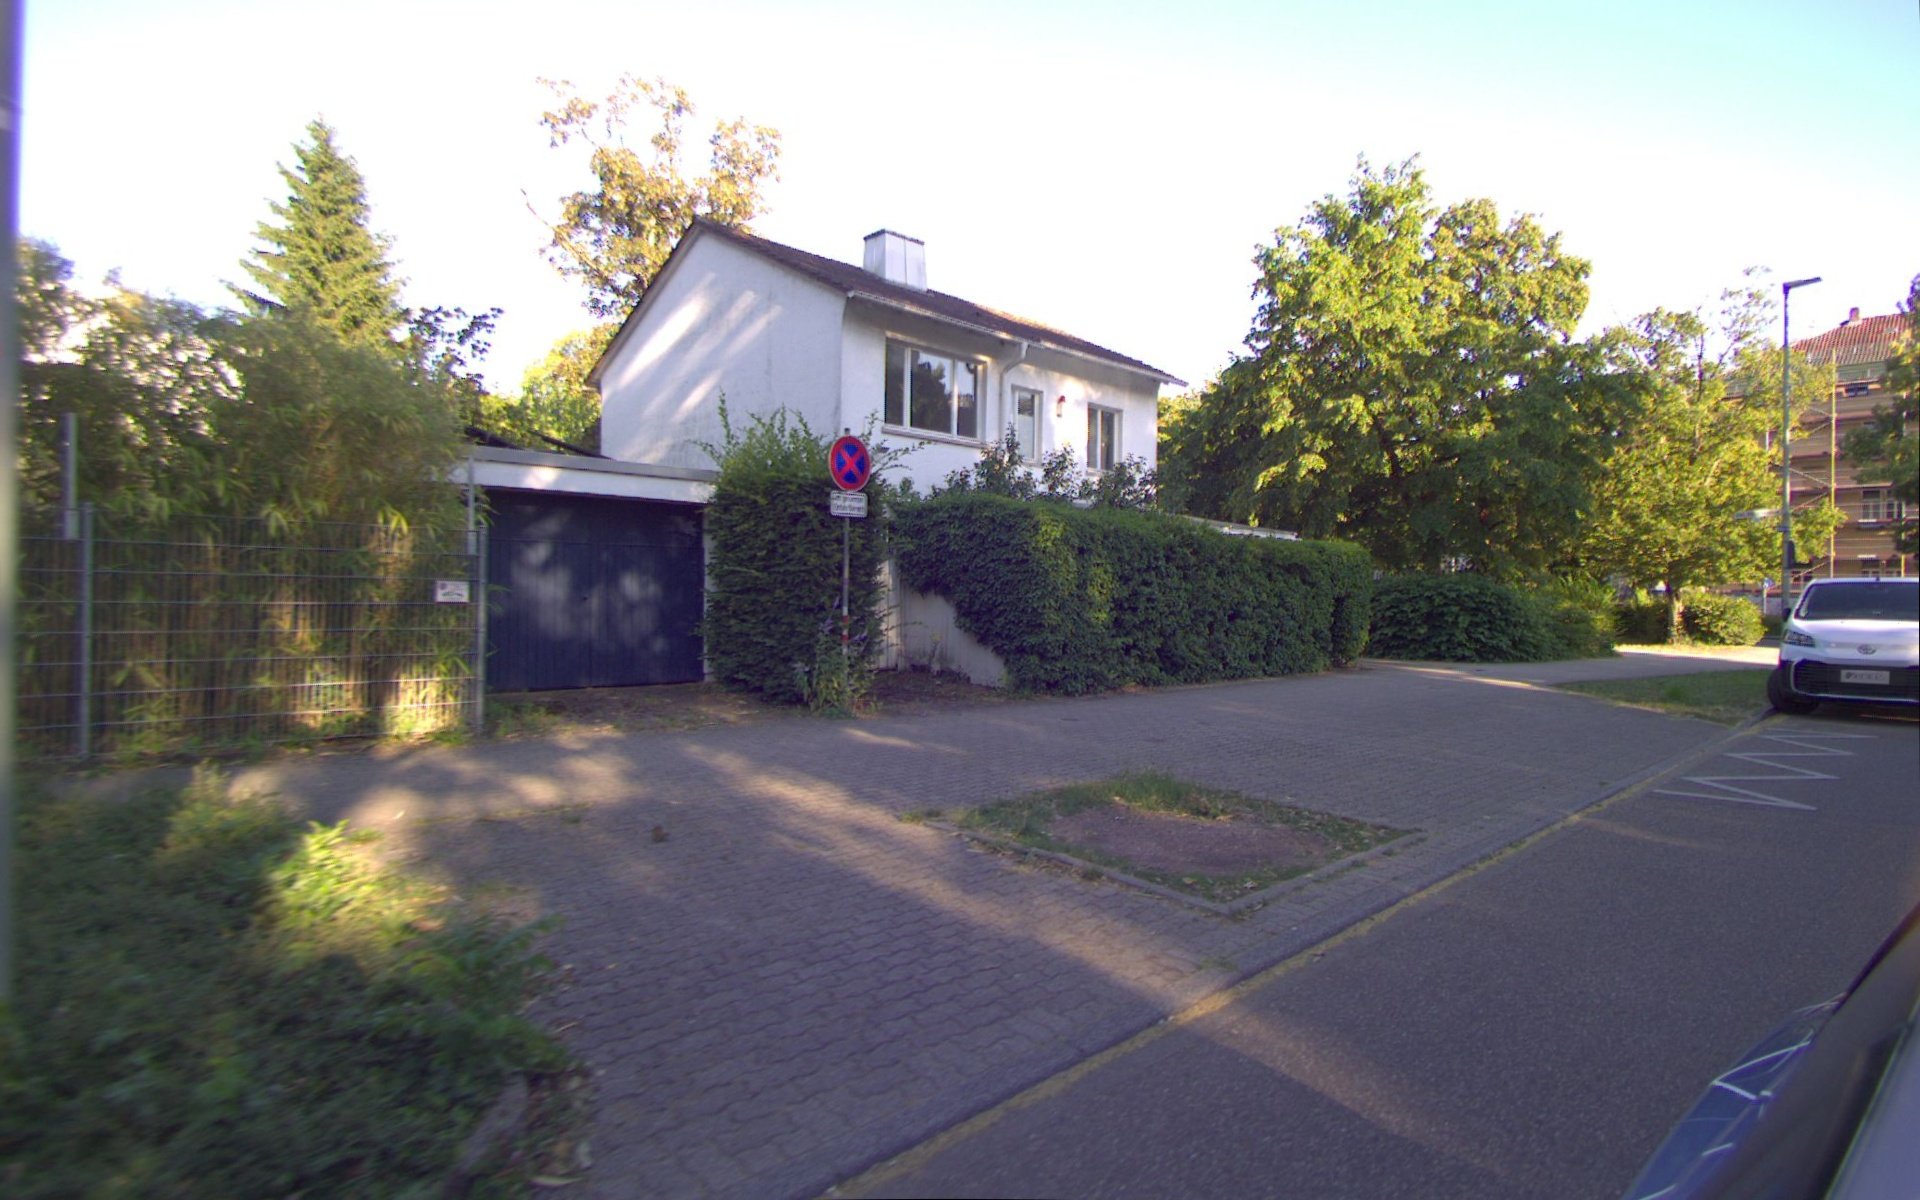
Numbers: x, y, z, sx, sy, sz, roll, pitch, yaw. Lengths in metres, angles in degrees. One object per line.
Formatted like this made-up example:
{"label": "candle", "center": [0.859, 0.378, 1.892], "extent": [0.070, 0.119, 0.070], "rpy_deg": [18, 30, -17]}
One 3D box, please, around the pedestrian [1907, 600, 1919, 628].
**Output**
{"label": "pedestrian", "center": [42.063, 0.599, 44.239], "extent": [0.544, 1.210, 0.881], "rpy_deg": [1, 0, 10]}

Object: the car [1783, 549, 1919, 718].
{"label": "car", "center": [13.132, 0.396, 14.209], "extent": [1.953, 2.039, 5.069], "rpy_deg": [0, 0, 45]}

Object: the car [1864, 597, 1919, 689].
{"label": "car", "center": [17.310, 0.697, 17.859], "extent": [1.766, 1.486, 4.786], "rpy_deg": [0, 0, 45]}
